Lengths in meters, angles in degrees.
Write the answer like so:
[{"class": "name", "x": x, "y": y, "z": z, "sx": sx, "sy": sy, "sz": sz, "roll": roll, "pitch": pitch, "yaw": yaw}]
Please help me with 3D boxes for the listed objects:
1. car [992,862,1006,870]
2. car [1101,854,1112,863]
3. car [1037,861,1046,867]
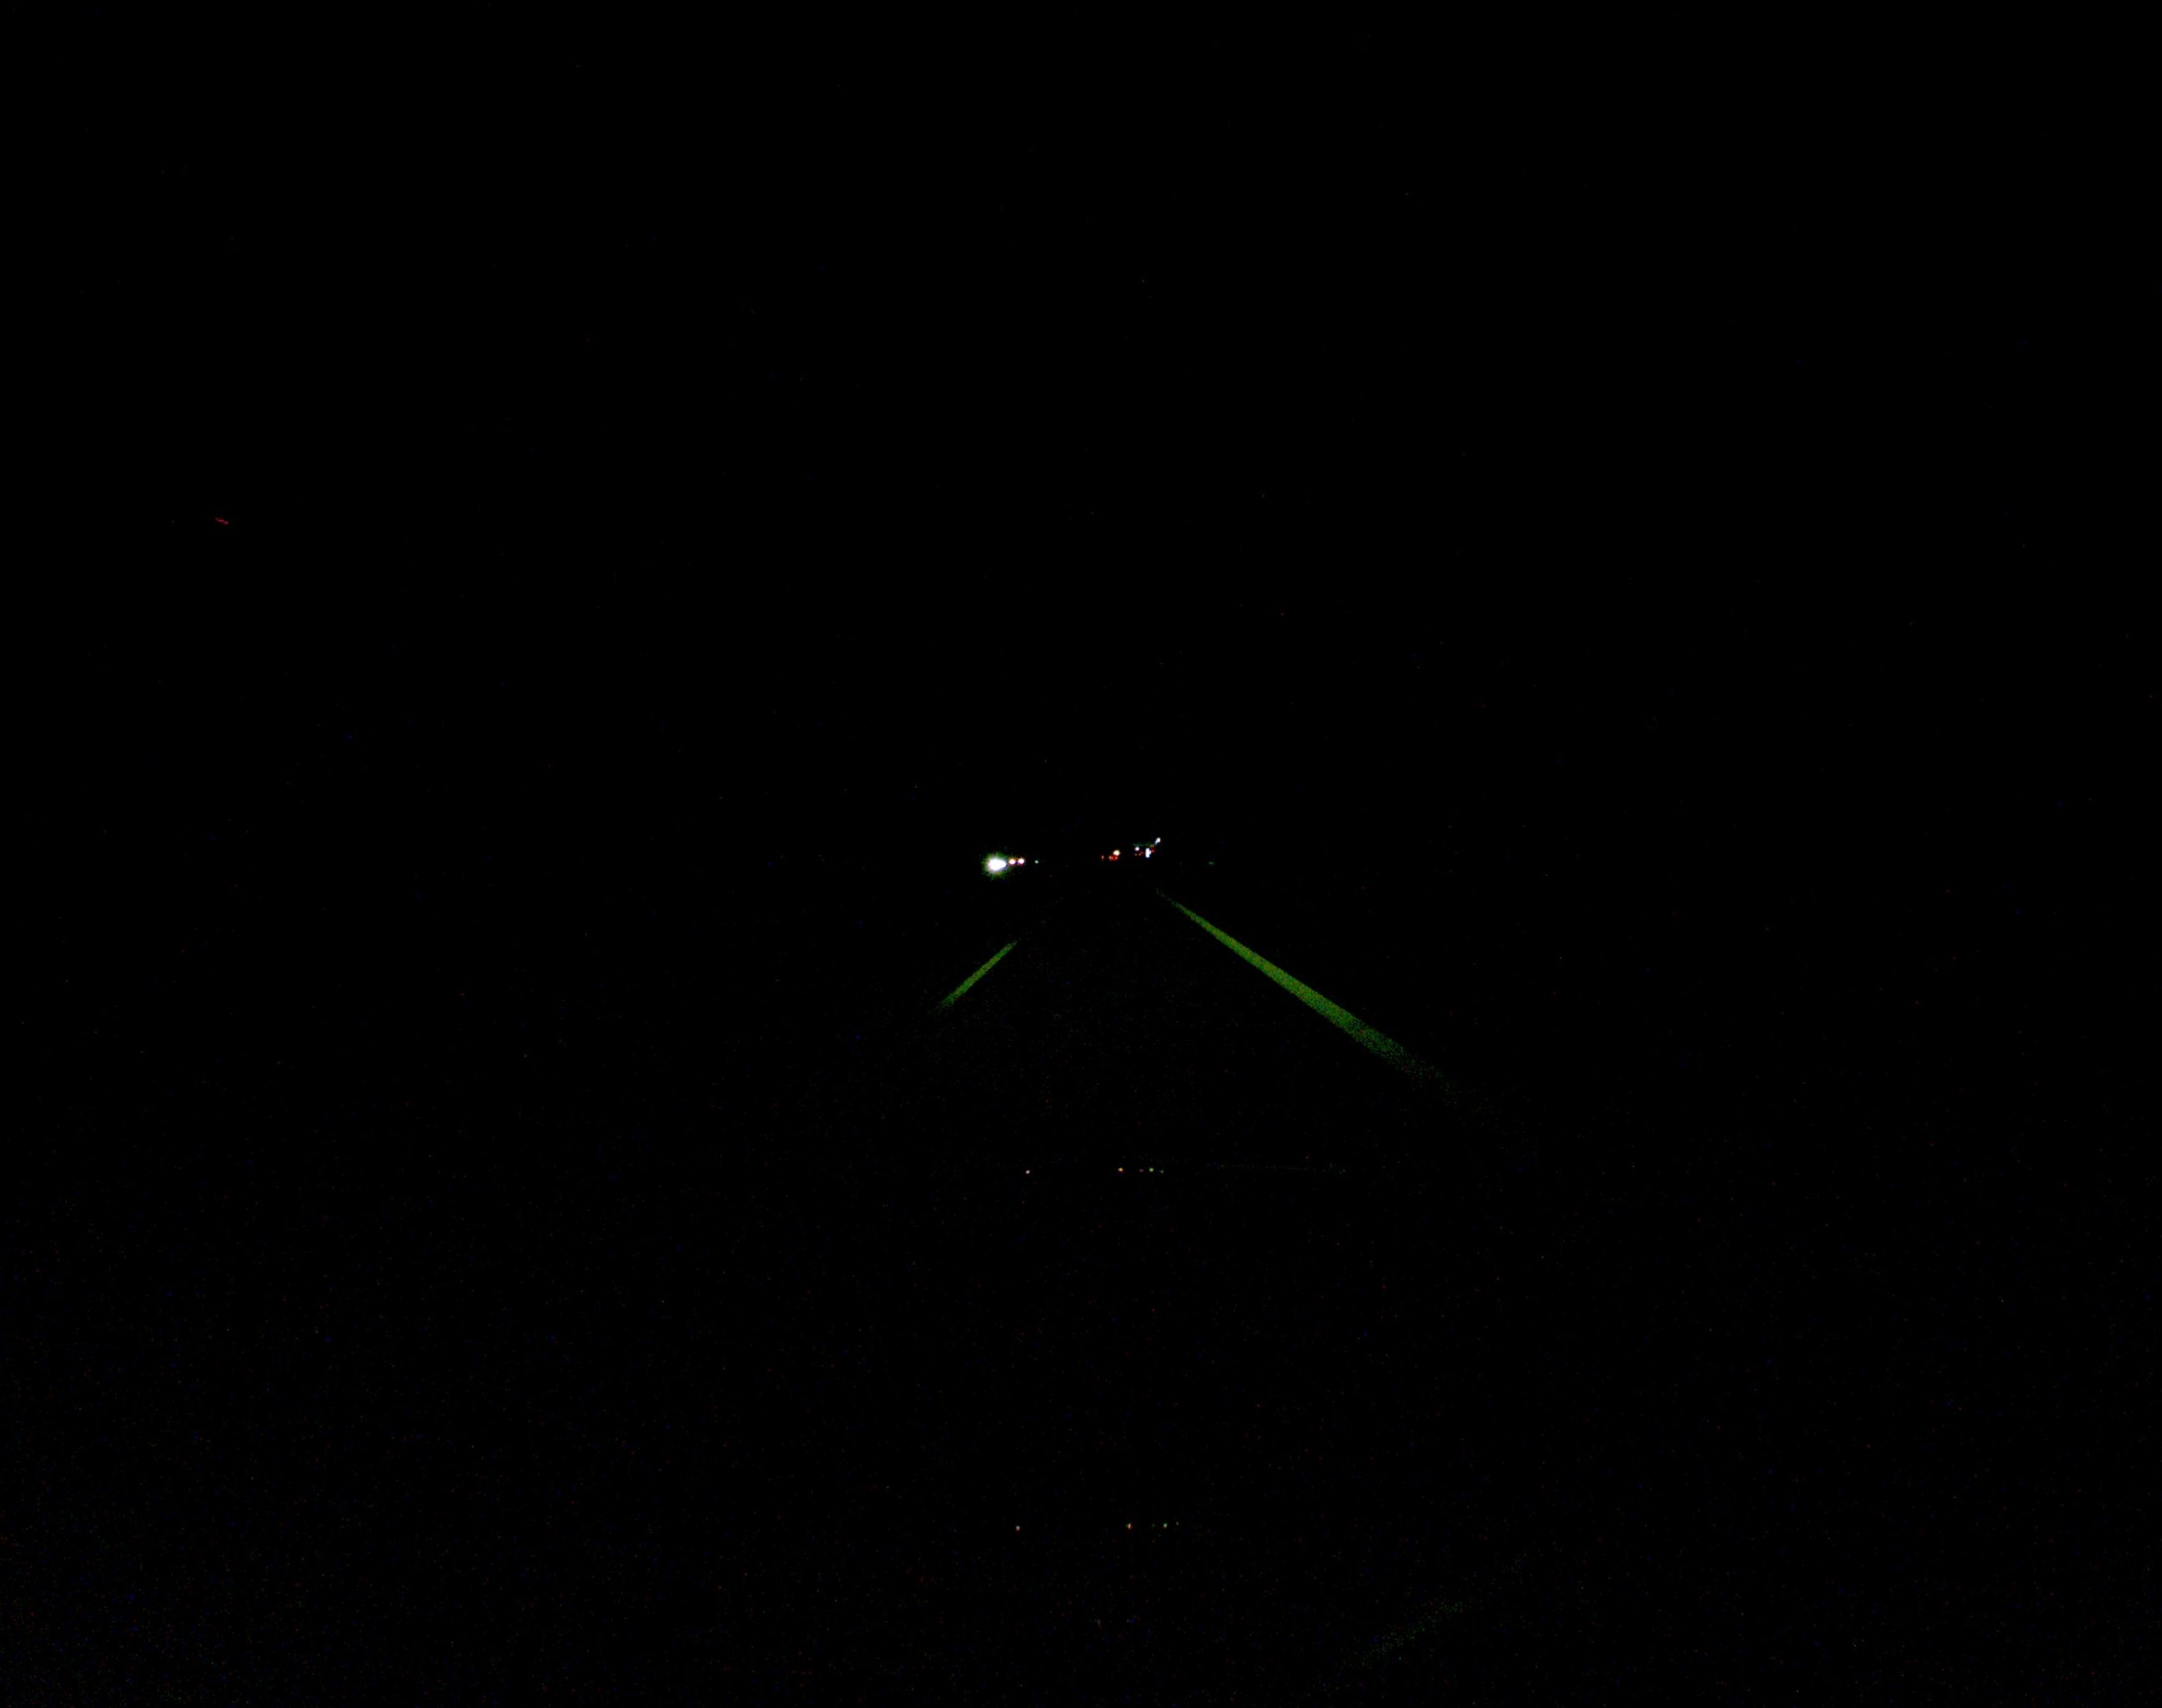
[{"class": "car", "x": -15.984, "y": 2.318, "z": 159.436, "sx": 2.044, "sy": 1.598, "sz": 5.077, "roll": -1, "pitch": 0, "yaw": 1}, {"class": "car", "x": 6.334, "y": 1.107, "z": 202.067, "sx": 2.500, "sy": 2.314, "sz": 4.975, "roll": -1, "pitch": -1, "yaw": 4}, {"class": "car", "x": -9.559, "y": 2.393, "z": 196.354, "sx": 1.854, "sy": 1.498, "sz": 4.708, "roll": -1, "pitch": 0, "yaw": 2}]
